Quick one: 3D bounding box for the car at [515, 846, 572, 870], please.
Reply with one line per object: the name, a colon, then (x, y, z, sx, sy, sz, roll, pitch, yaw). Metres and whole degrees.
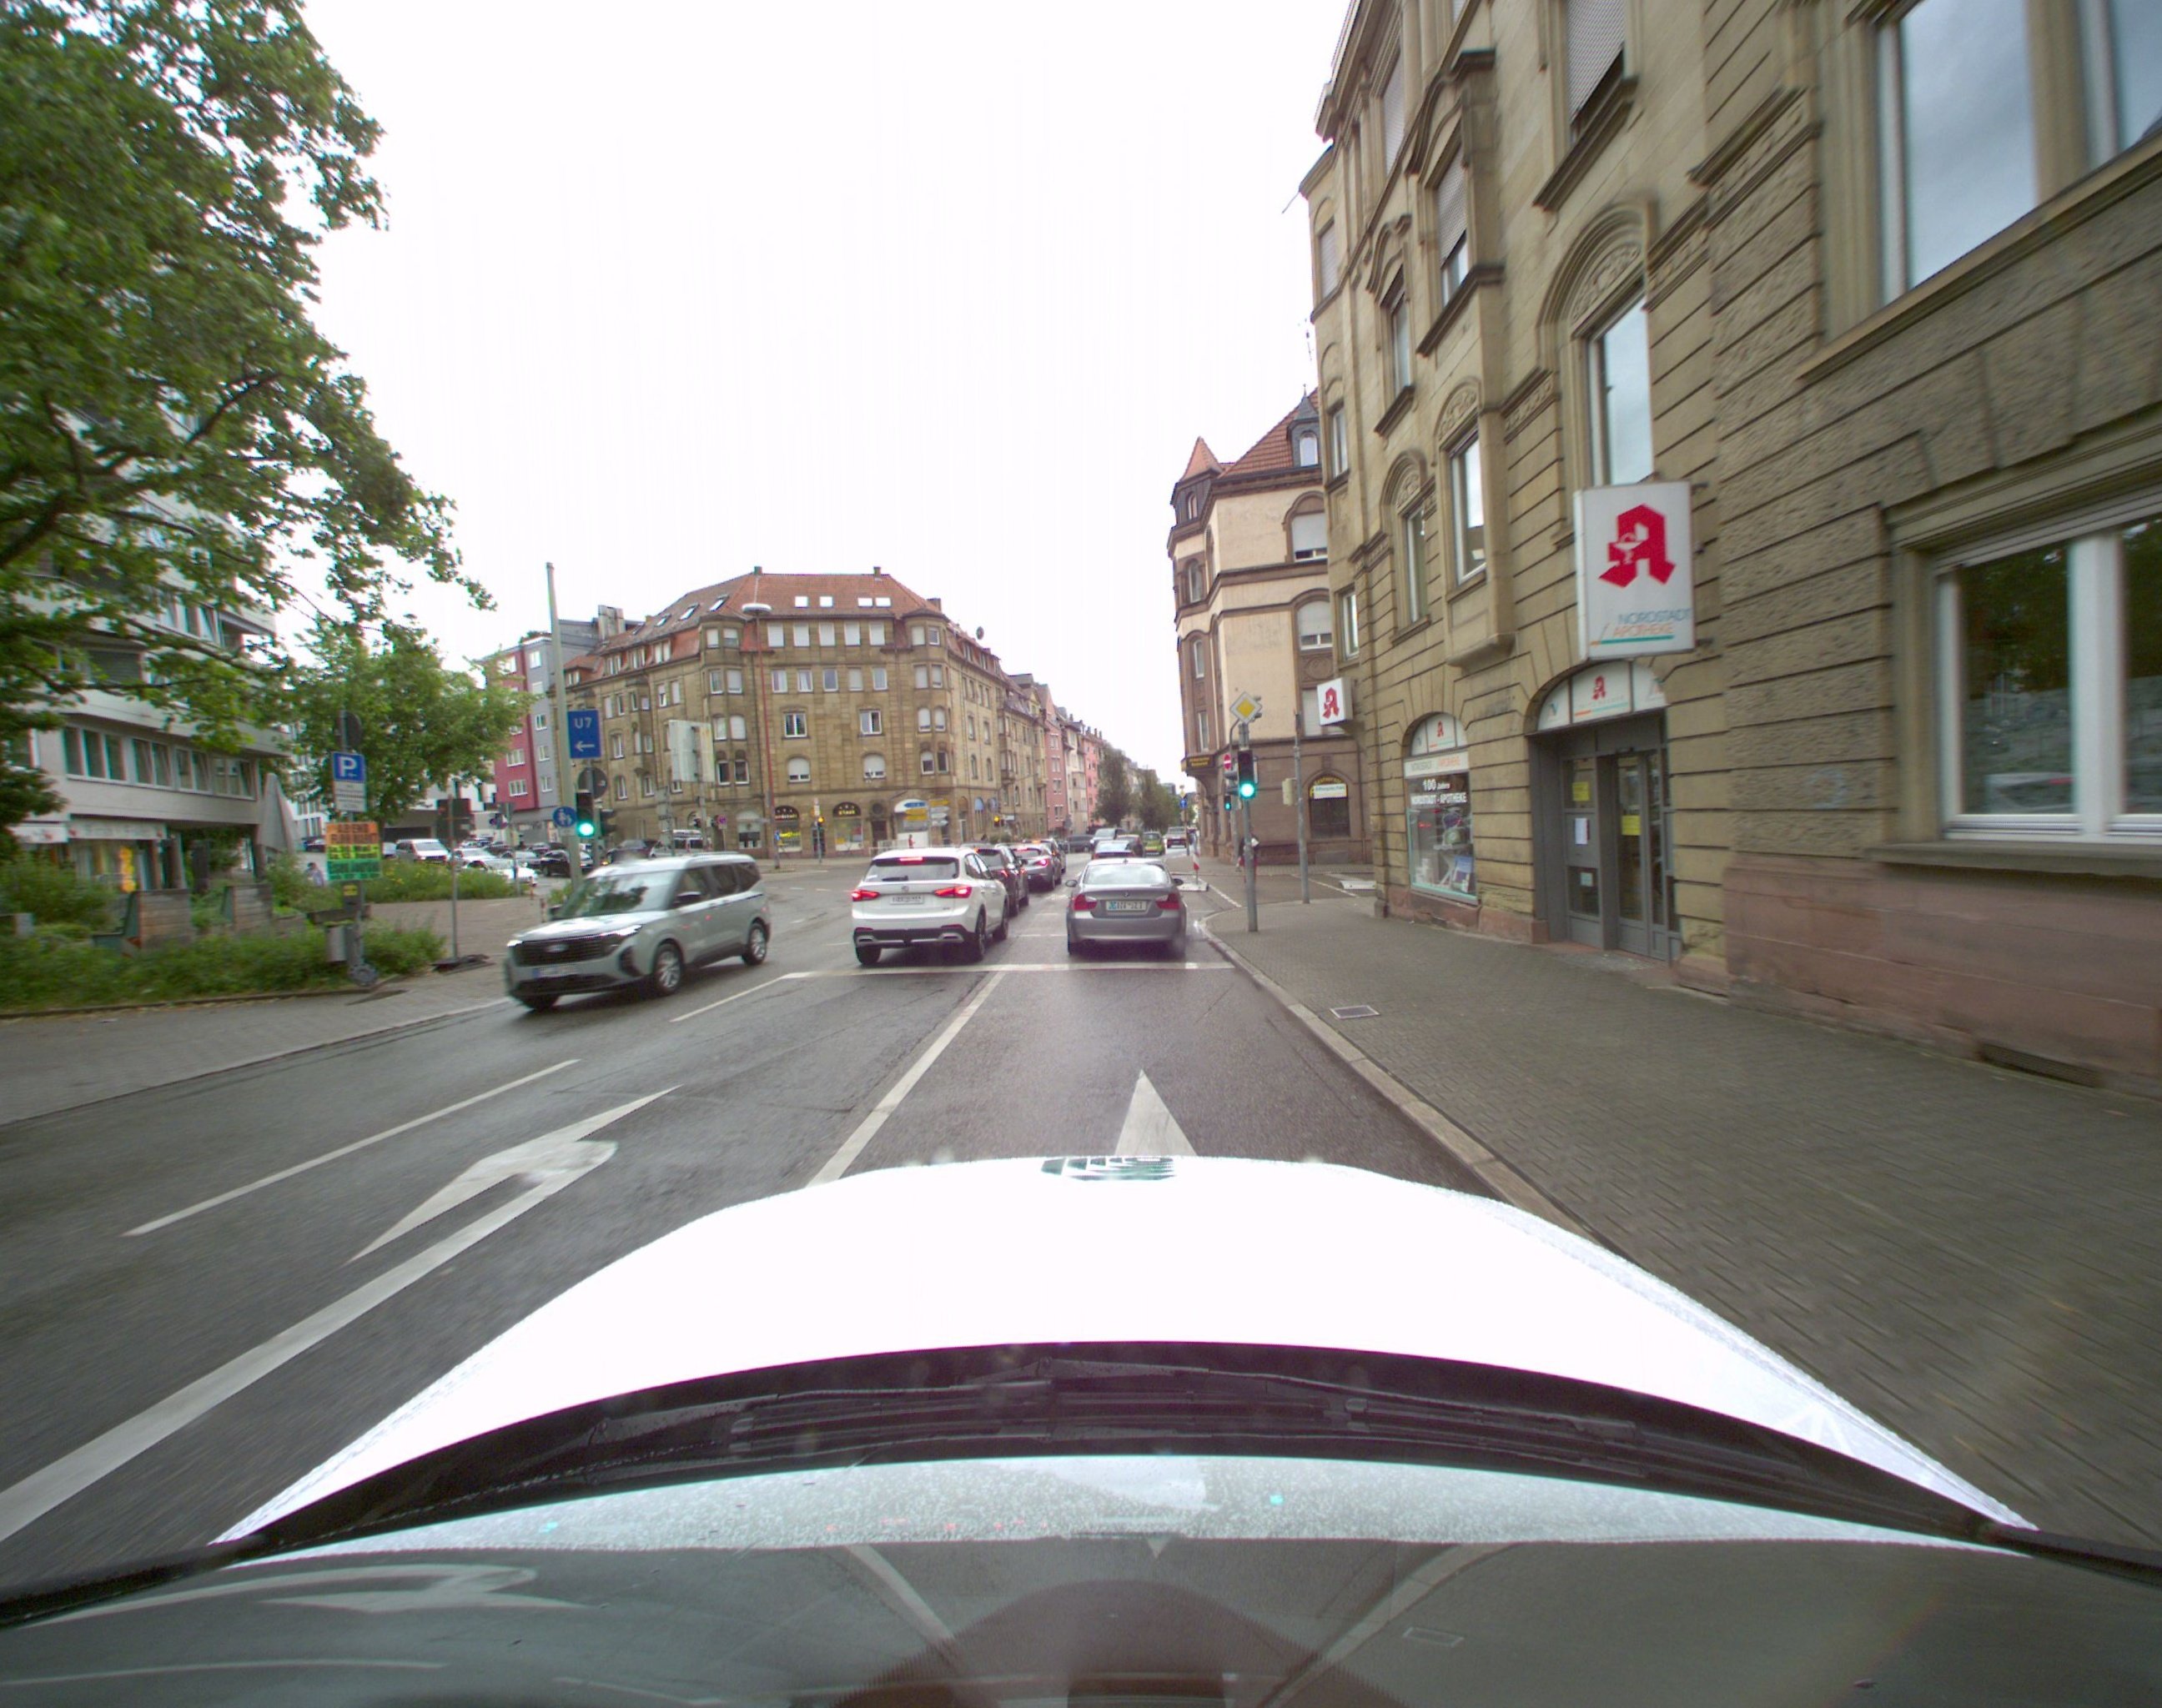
car: (-42.246, 0.318, 64.001, 4.161, 1.704, 2.013, -1, 1, 29)

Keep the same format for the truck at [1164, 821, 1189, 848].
truck: (8.943, -1.781, 76.009, 2.020, 2.412, 4.840, -2, 0, 9)

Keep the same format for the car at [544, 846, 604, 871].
car: (-38.077, 0.355, 61.188, 4.161, 1.704, 2.013, -1, 1, 29)

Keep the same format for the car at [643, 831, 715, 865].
car: (-27.357, -0.431, 55.408, 4.743, 2.168, 2.013, -1, 1, 29)

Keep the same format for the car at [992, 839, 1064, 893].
car: (-1.631, 0.325, 26.561, 1.744, 1.482, 4.185, -3, 1, 4)

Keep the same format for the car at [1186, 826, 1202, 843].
car: (13.590, -2.285, 97.946, 1.801, 1.904, 4.011, -1, 0, 10)

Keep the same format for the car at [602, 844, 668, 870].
car: (-31.622, 0.187, 57.690, 4.325, 1.704, 2.013, -1, 1, 29)

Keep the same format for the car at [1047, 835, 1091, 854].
car: (-1.247, -1.062, 87.657, 4.659, 1.938, 1.863, -2, 1, 0)

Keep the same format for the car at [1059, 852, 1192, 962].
car: (0.660, 0.713, 12.950, 1.763, 1.428, 3.742, -2, 0, 1)

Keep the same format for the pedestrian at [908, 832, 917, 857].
pedestrian: (-11.866, -0.681, 57.256, 0.523, 1.774, 0.690, -2, 1, -14)

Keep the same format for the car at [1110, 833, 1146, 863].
car: (2.592, -0.308, 43.986, 1.688, 1.483, 3.801, -2, 0, 6)

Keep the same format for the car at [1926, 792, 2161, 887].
car: (21.632, -0.343, 17.766, 4.137, 1.899, 1.849, -1, 2, 12)

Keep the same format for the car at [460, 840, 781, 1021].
car: (-6.062, 0.864, 11.457, 1.807, 1.881, 4.243, -7, 0, 1)

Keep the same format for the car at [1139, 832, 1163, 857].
car: (4.718, -0.625, 54.285, 1.441, 1.565, 3.339, -2, 0, 6)

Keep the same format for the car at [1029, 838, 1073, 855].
car: (-3.036, -0.756, 82.613, 4.121, 1.510, 1.879, -3, 1, 10)

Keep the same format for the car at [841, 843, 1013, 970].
car: (-2.237, 0.685, 13.053, 1.745, 1.644, 4.380, -2, 0, 1)

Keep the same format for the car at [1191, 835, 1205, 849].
car: (15.396, -1.549, 107.030, 1.767, 1.798, 4.011, -1, 0, 10)

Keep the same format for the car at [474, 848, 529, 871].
car: (-47.606, 0.444, 66.894, 4.161, 1.704, 2.013, -1, 1, 29)

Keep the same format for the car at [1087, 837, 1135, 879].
car: (1.180, 0.121, 30.775, 1.674, 1.428, 3.744, -2, 0, 3)

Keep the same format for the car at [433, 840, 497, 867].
car: (-39.080, -0.025, 51.638, 4.247, 1.537, 1.750, -1, 3, 32)

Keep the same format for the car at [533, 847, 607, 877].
car: (-28.060, 0.424, 44.718, 3.972, 1.491, 1.778, -1, 3, 32)

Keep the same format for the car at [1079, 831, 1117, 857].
car: (1.281, -0.728, 62.482, 1.746, 1.846, 4.124, -4, 1, -15)

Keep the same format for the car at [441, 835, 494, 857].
car: (-52.488, -0.682, 69.637, 4.161, 1.704, 2.013, -1, 1, 29)

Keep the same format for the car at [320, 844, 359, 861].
car: (-77.429, -0.131, 85.030, 4.161, 1.704, 1.708, -1, 1, 29)

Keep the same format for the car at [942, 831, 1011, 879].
car: (-4.298, 0.007, 34.007, 1.705, 1.496, 3.691, -12, 1, 8)

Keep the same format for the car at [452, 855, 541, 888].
car: (-28.465, 0.842, 39.640, 4.336, 1.491, 1.926, -1, 2, 32)

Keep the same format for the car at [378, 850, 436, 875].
car: (-45.219, 0.580, 54.586, 4.101, 1.538, 1.749, -2, 0, 32)

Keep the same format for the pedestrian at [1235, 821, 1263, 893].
pedestrian: (4.708, 0.073, 22.890, 0.693, 1.949, 1.094, -2, 2, 9)

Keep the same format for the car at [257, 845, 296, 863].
car: (-83.395, 0.025, 84.367, 4.161, 1.704, 1.708, -1, 1, 29)

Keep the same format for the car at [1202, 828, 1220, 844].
car: (14.698, -2.032, 92.167, 1.867, 1.731, 4.690, -2, 1, 10)

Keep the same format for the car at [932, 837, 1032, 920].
car: (-2.273, 0.488, 19.792, 1.745, 1.644, 4.215, -2, 3, 1)

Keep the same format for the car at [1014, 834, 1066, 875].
car: (-1.615, 0.010, 33.490, 1.745, 1.535, 4.216, -2, 0, 1)

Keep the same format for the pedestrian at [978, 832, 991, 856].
pedestrian: (-6.958, -0.718, 58.768, 0.829, 1.702, 0.634, -2, 1, -19)
